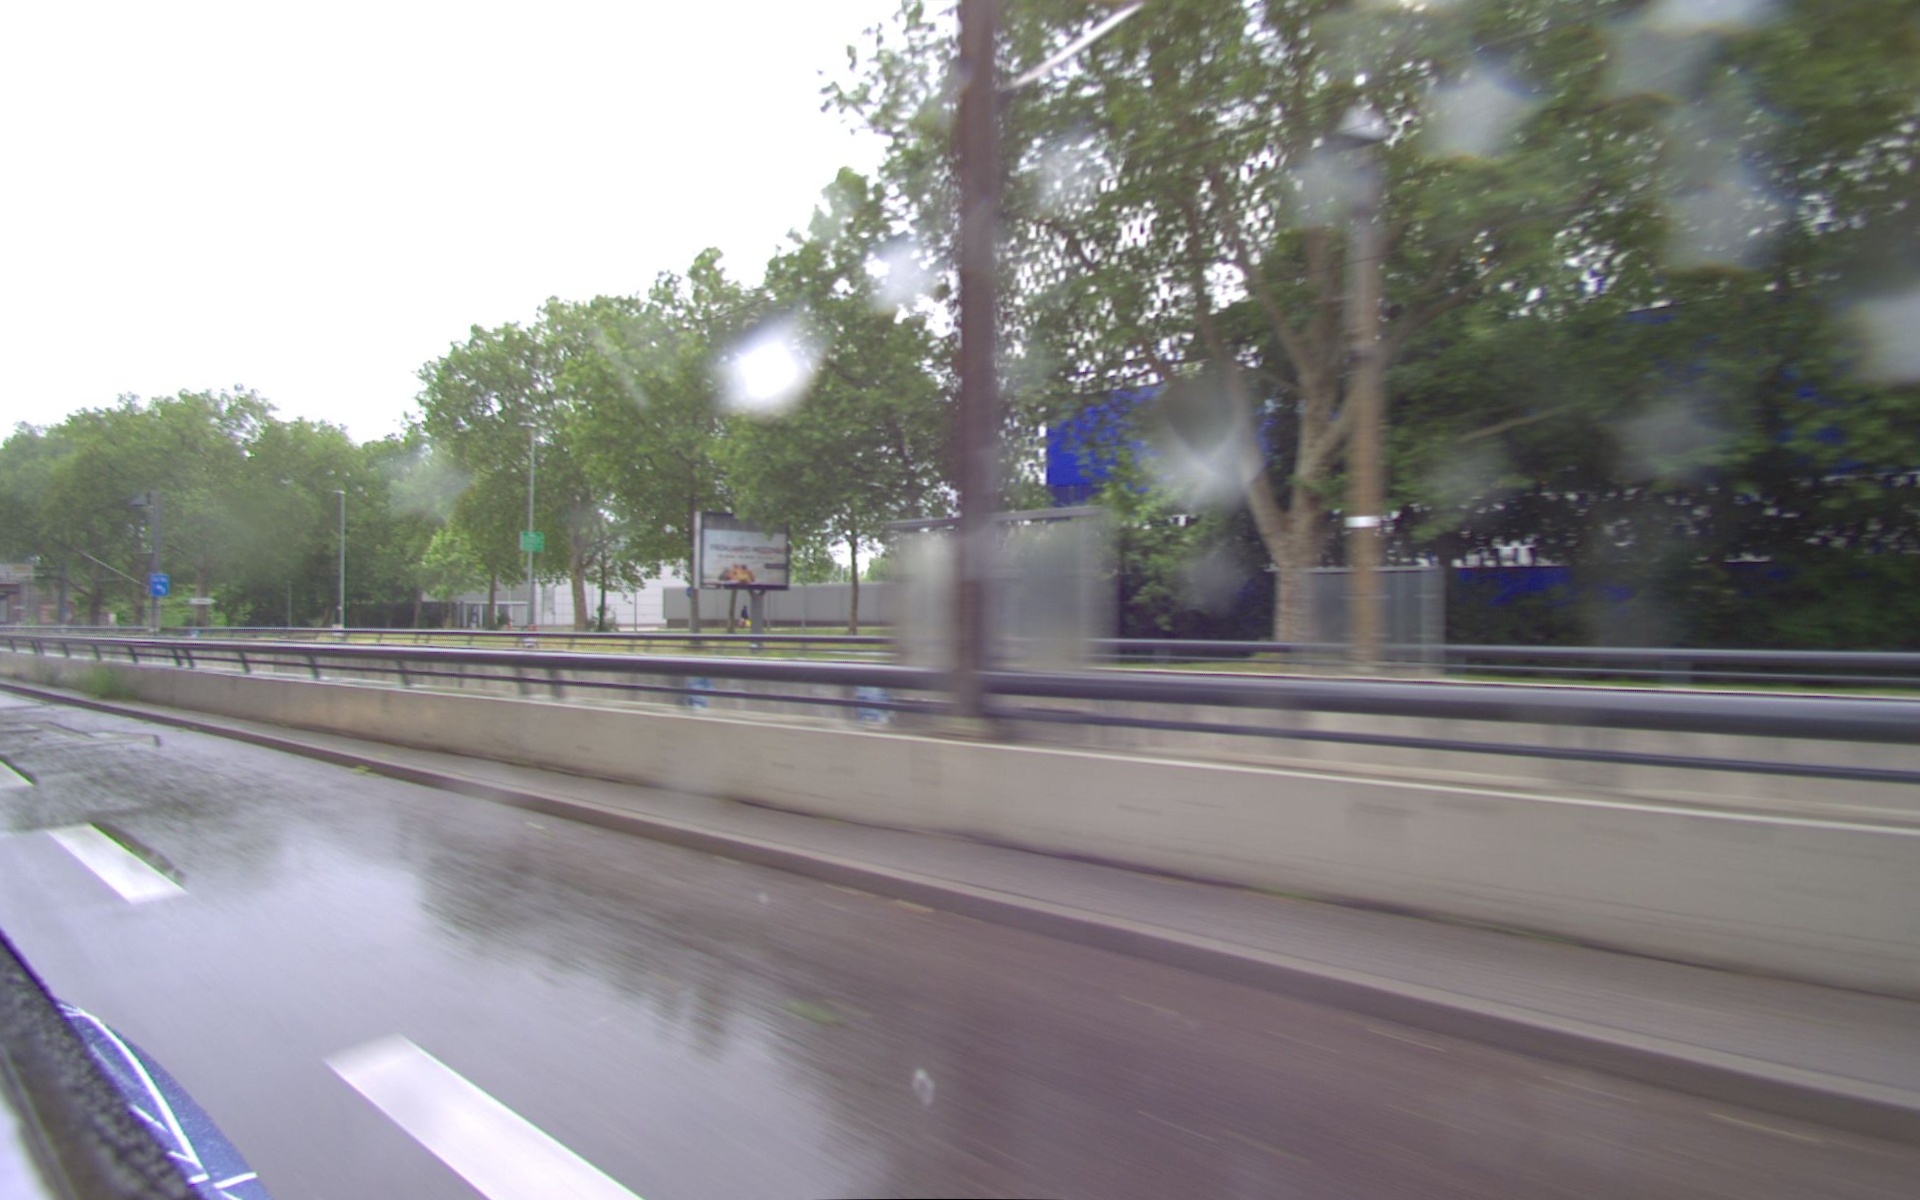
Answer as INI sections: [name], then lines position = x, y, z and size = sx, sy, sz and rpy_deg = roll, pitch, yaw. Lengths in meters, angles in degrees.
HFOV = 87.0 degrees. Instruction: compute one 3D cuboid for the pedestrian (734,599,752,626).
[pedestrian]
position = -16.258, 0.922, 75.739
size = 0.789, 2.029, 0.991
rpy_deg = -1, 0, 40
